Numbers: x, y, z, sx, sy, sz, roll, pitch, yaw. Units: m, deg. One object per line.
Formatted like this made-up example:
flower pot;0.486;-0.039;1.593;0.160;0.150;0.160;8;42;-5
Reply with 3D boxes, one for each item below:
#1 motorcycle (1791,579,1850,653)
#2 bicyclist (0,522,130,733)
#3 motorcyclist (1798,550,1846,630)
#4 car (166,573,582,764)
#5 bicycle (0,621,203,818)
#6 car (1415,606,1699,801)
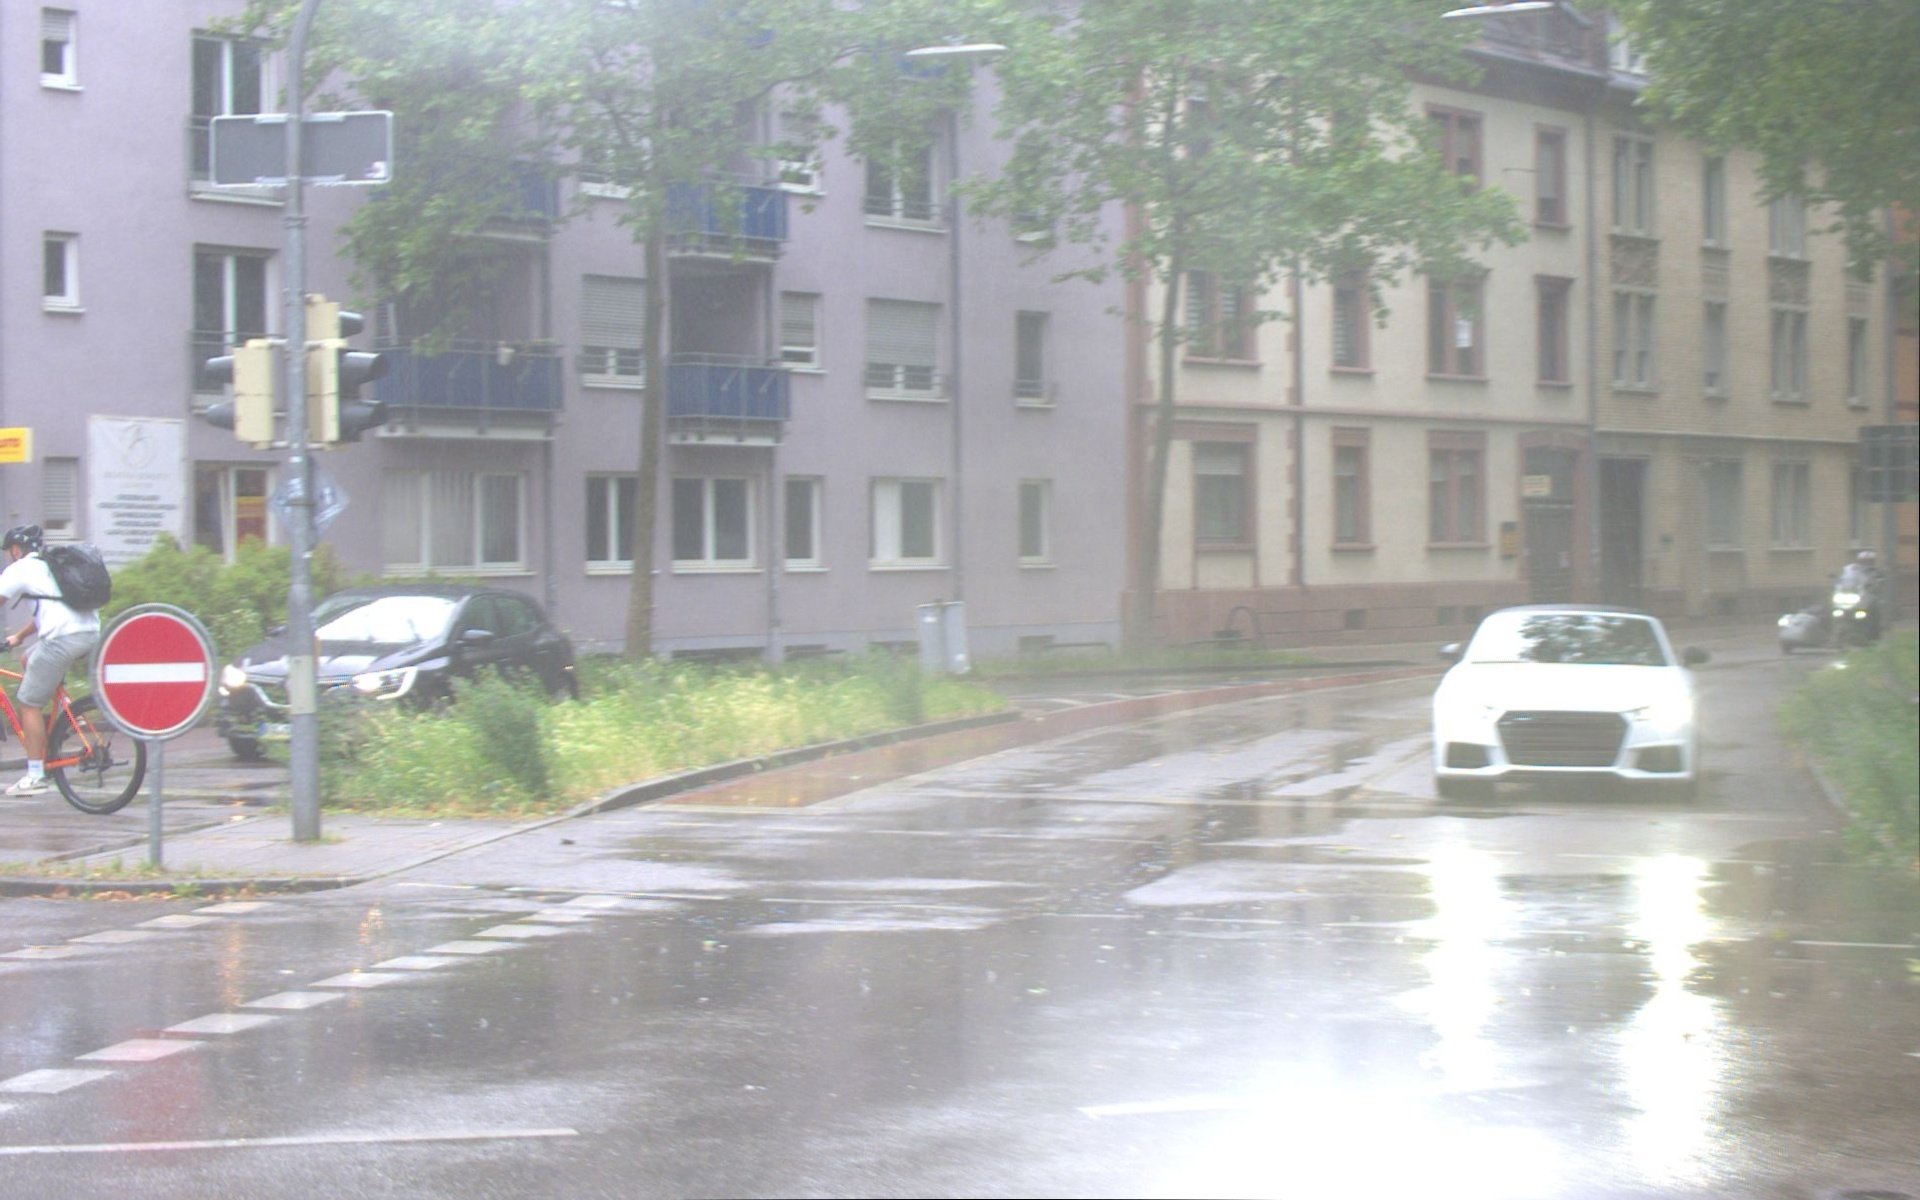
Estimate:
motorcycle;14.636;0.260;58.436;0.879;1.210;2.073;0;1;17
bicyclist;-5.965;0.158;21.911;1.075;1.305;0.742;0;2;25
motorcyclist;14.638;-0.174;58.400;0.756;1.346;0.754;0;0;16
car;-4.869;0.517;29.200;1.989;1.456;4.175;0;1;14
bicycle;-5.897;0.737;21.912;2.037;1.169;0.752;0;2;25
car;4.465;0.700;25.307;1.898;1.271;4.170;0;0;12
